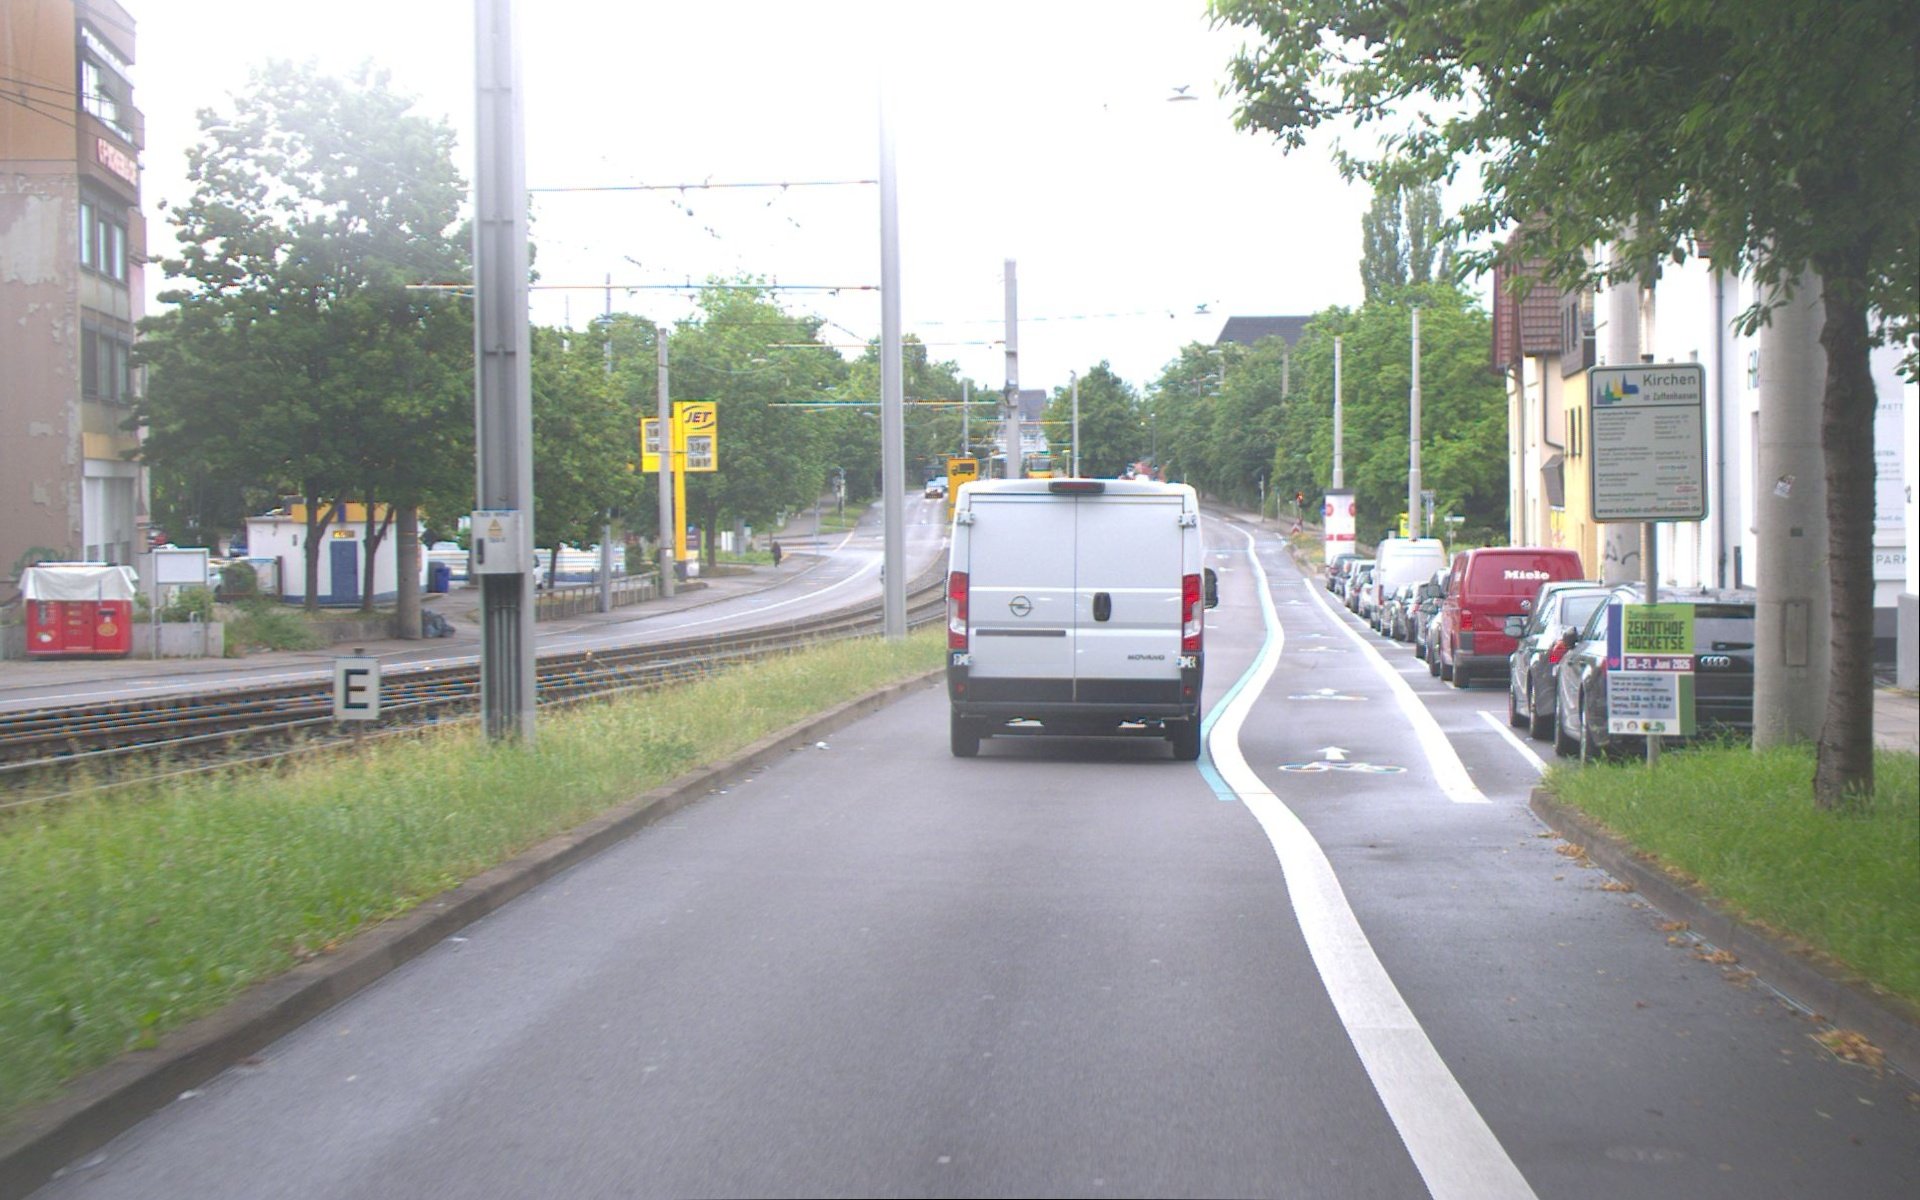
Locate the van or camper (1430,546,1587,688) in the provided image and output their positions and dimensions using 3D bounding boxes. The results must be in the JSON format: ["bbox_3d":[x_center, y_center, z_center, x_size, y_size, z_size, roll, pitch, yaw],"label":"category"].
[{"bbox_3d":[7.757,0.217,48.999,1.851,1.913,4.994,0,0,5],"label":"van or camper"}]

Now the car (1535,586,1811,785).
[{"bbox_3d":[5.566,0.609,27.294,1.677,1.418,4.564,1,0,6],"label":"car"}]

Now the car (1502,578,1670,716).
[{"bbox_3d":[6.900,0.514,38.156,1.578,1.447,3.719,0,-1,7],"label":"car"}]

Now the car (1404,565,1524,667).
[{"bbox_3d":[9.484,0.266,64.981,1.839,1.794,4.686,2,1,4],"label":"car"}]

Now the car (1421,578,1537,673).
[{"bbox_3d":[8.987,0.420,59.825,1.634,1.533,4.135,2,1,4],"label":"car"}]

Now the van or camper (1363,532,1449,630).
[{"bbox_3d":[12.530,-0.577,96.814,1.994,2.554,6.042,2,2,4],"label":"van or camper"}]

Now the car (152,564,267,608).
[{"bbox_3d":[-26.527,-0.492,121.518,3.763,1.449,1.552,1,0,-21],"label":"car"}]

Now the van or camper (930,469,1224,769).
[{"bbox_3d":[0.933,0.125,28.752,2.199,2.245,4.684,2,0,1],"label":"van or camper"}]

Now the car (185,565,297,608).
[{"bbox_3d":[-26.396,-0.504,126.226,3.763,1.474,1.576,1,0,-21],"label":"car"}]

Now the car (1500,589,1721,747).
[{"bbox_3d":[6.216,0.606,33.254,1.712,1.407,4.564,0,0,6],"label":"car"}]

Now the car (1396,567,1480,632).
[{"bbox_3d":[11.636,-0.027,83.893,1.565,1.493,3.513,2,1,1],"label":"car"}]

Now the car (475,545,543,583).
[{"bbox_3d":[-17.813,-1.426,135.802,1.994,1.437,4.000,2,0,2],"label":"car"}]

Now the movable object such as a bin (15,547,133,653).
[{"bbox_3d":[-19.074,-0.013,74.081,2.133,2.149,1.803,2,2,-4],"label":"movable object such as a bin"}]

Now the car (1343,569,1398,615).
[{"bbox_3d":[14.075,-0.293,117.911,1.646,1.441,3.954,2,1,4],"label":"car"}]

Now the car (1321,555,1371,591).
[{"bbox_3d":[16.515,-1.164,147.152,1.848,1.494,3.954,1,1,3],"label":"car"}]
